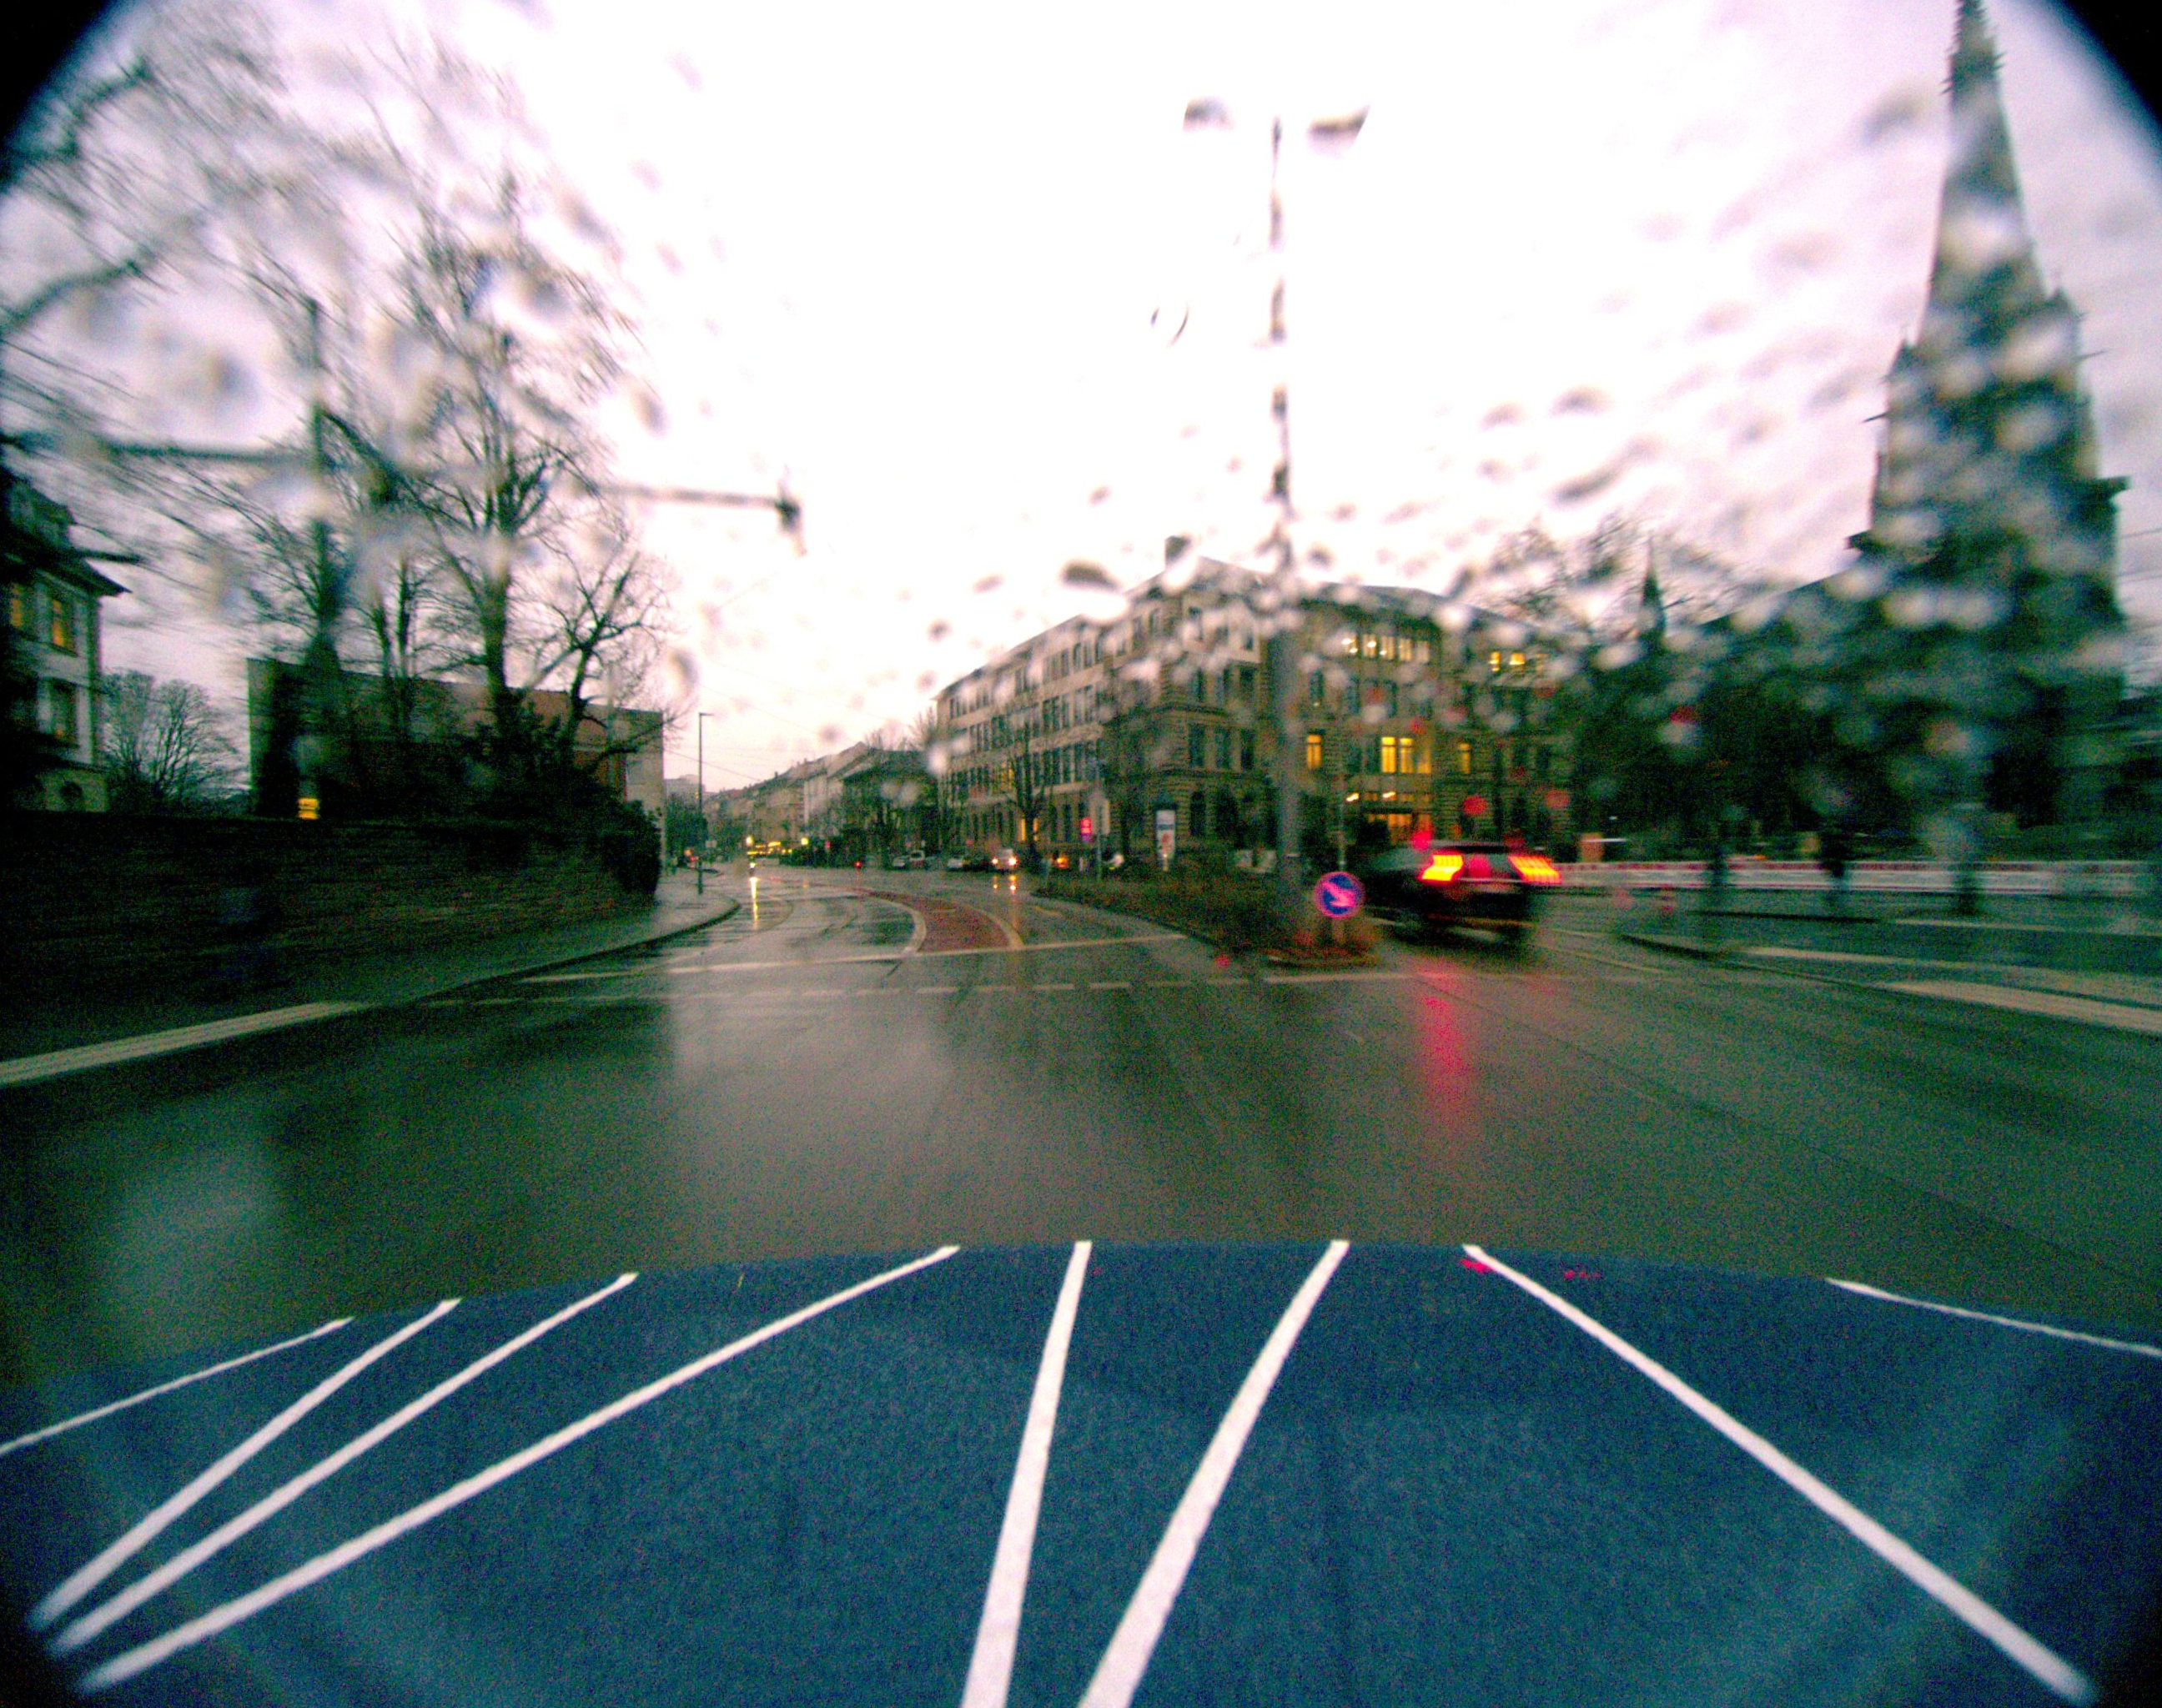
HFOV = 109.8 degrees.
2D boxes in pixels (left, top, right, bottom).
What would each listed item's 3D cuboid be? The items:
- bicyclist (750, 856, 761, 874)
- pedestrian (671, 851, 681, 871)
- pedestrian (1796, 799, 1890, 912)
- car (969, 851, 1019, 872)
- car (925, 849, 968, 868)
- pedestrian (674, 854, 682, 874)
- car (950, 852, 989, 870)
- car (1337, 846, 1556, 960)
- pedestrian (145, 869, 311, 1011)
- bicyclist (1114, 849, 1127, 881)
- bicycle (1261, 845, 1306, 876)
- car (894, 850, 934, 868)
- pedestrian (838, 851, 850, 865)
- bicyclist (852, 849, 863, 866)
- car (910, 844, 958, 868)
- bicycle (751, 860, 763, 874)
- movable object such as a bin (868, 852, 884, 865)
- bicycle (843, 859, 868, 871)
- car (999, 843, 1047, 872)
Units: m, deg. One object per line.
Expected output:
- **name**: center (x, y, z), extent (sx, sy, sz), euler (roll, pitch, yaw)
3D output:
- **bicyclist**: center (-26.020, 0.879, 60.811), extent (0.718, 1.335, 0.718), euler (-4, 3, -25)
- **pedestrian**: center (-37.536, 0.641, 70.392), extent (0.775, 1.848, 0.716), euler (0, 1, -30)
- **pedestrian**: center (16.724, 0.017, 16.712), extent (0.996, 2.357, 1.064), euler (-3, 3, -2)
- **car**: center (-7.385, 0.632, 65.038), extent (1.795, 1.449, 4.484), euler (-1, 3, 32)
- **car**: center (-12.982, 0.437, 73.575), extent (1.819, 1.531, 3.983), euler (-1, 3, 31)
- **pedestrian**: center (-37.367, 0.903, 70.491), extent (0.659, 1.849, 0.658), euler (0, 1, -30)
- **car**: center (-10.200, 0.610, 69.527), extent (1.633, 1.449, 3.832), euler (-1, 2, 25)
- **car**: center (6.044, 0.704, 13.265), extent (1.758, 1.652, 4.530), euler (0, 0, 2)
- **pedestrian**: center (-10.832, 1.047, 9.704), extent (0.807, 1.675, 1.156), euler (0, 0, 0)
- **bicyclist**: center (2.231, 0.628, 42.699), extent (0.611, 1.758, 0.589), euler (-2, 3, 12)
- **bicycle**: center (11.643, 0.394, 43.750), extent (2.424, 1.679, 0.714), euler (-2, 3, 19)
- **car**: center (-17.837, 0.510, 81.262), extent (1.771, 1.582, 4.191), euler (-1, 2, 29)
- **pedestrian**: center (-29.937, 0.544, 95.883), extent (0.945, 1.694, 0.925), euler (-1, 3, 35)
- **bicyclist**: center (-21.562, 0.347, 73.249), extent (0.858, 1.586, 0.779), euler (-3, 2, -27)
- **car**: center (-14.678, 0.181, 76.133), extent (1.961, 2.042, 4.629), euler (-1, 3, 31)
- **bicycle**: center (-25.996, 1.023, 60.950), extent (0.725, 1.084, 2.281), euler (-3, 0, -25)
- **movable object such as a bin**: center (-24.426, 0.515, 90.505), extent (1.341, 1.456, 0.987), euler (-2, 3, 21)
- **bicycle**: center (-21.724, 1.060, 73.258), extent (2.125, 0.939, 0.942), euler (-4, 3, -28)
- **car**: center (-4.536, 0.256, 60.192), extent (1.908, 2.022, 4.809), euler (-2, 2, 21)
